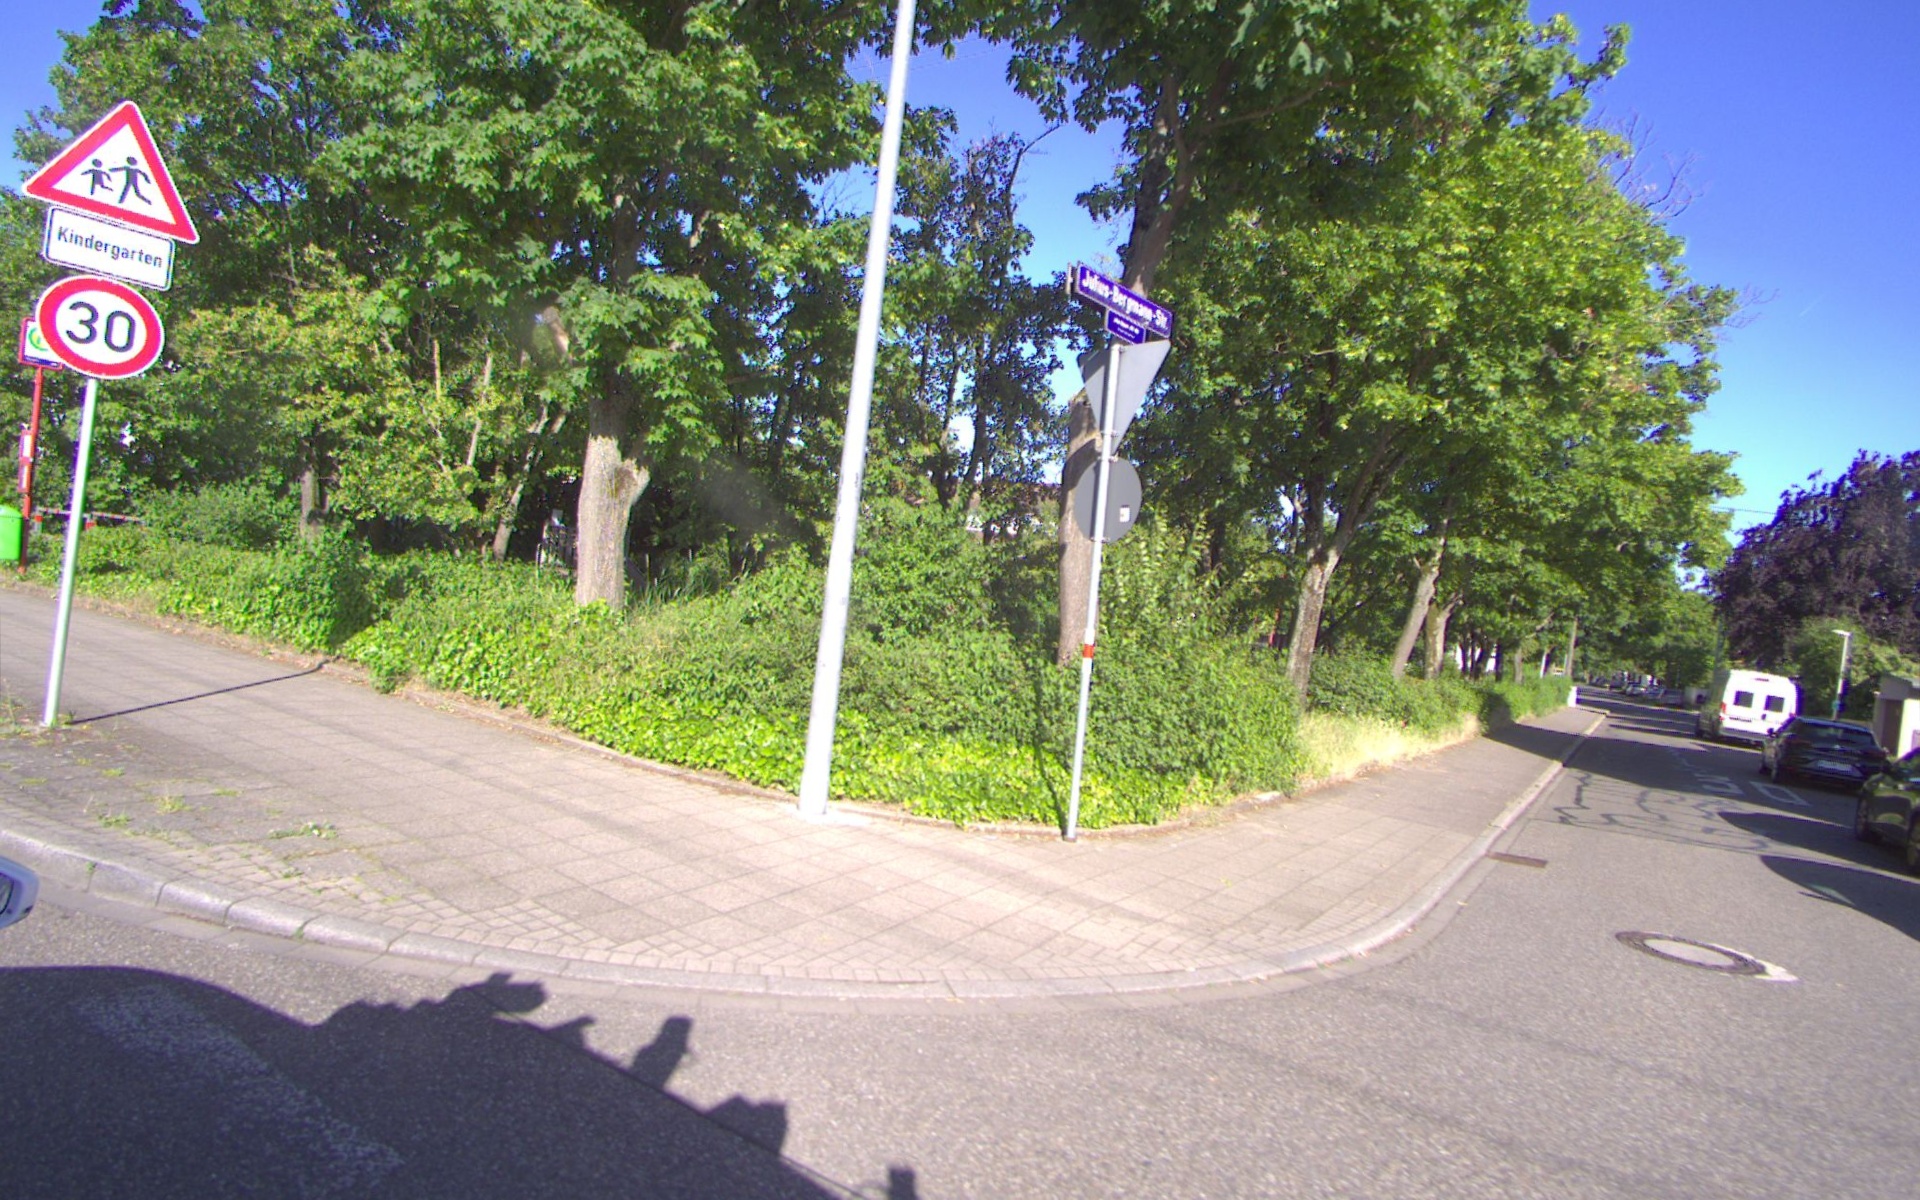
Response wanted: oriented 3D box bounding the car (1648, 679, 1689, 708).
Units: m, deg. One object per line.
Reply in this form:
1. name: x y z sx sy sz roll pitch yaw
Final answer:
1. car: 57.411 7.611 81.576 2.398 1.940 5.142 7 -2 34

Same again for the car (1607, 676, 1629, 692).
1. car: 96.852 12.397 148.049 2.398 1.940 5.142 7 -2 34

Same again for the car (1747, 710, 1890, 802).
1. car: 17.895 3.187 21.141 1.612 1.464 3.701 7 0 32

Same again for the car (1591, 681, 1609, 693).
1. car: 116.975 15.877 183.834 2.398 1.867 5.036 7 -2 34

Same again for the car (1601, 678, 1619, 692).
1. car: 110.392 14.526 170.883 2.398 1.940 5.142 7 -2 34

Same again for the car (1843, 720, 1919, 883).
1. car: 11.313 2.269 11.031 1.715 1.516 4.005 7 0 33

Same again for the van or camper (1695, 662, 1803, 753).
1. van or camper: 28.068 3.823 35.992 2.208 2.721 5.057 7 -1 32

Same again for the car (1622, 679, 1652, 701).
1. car: 73.239 9.713 108.856 2.398 1.940 5.142 7 -2 34
